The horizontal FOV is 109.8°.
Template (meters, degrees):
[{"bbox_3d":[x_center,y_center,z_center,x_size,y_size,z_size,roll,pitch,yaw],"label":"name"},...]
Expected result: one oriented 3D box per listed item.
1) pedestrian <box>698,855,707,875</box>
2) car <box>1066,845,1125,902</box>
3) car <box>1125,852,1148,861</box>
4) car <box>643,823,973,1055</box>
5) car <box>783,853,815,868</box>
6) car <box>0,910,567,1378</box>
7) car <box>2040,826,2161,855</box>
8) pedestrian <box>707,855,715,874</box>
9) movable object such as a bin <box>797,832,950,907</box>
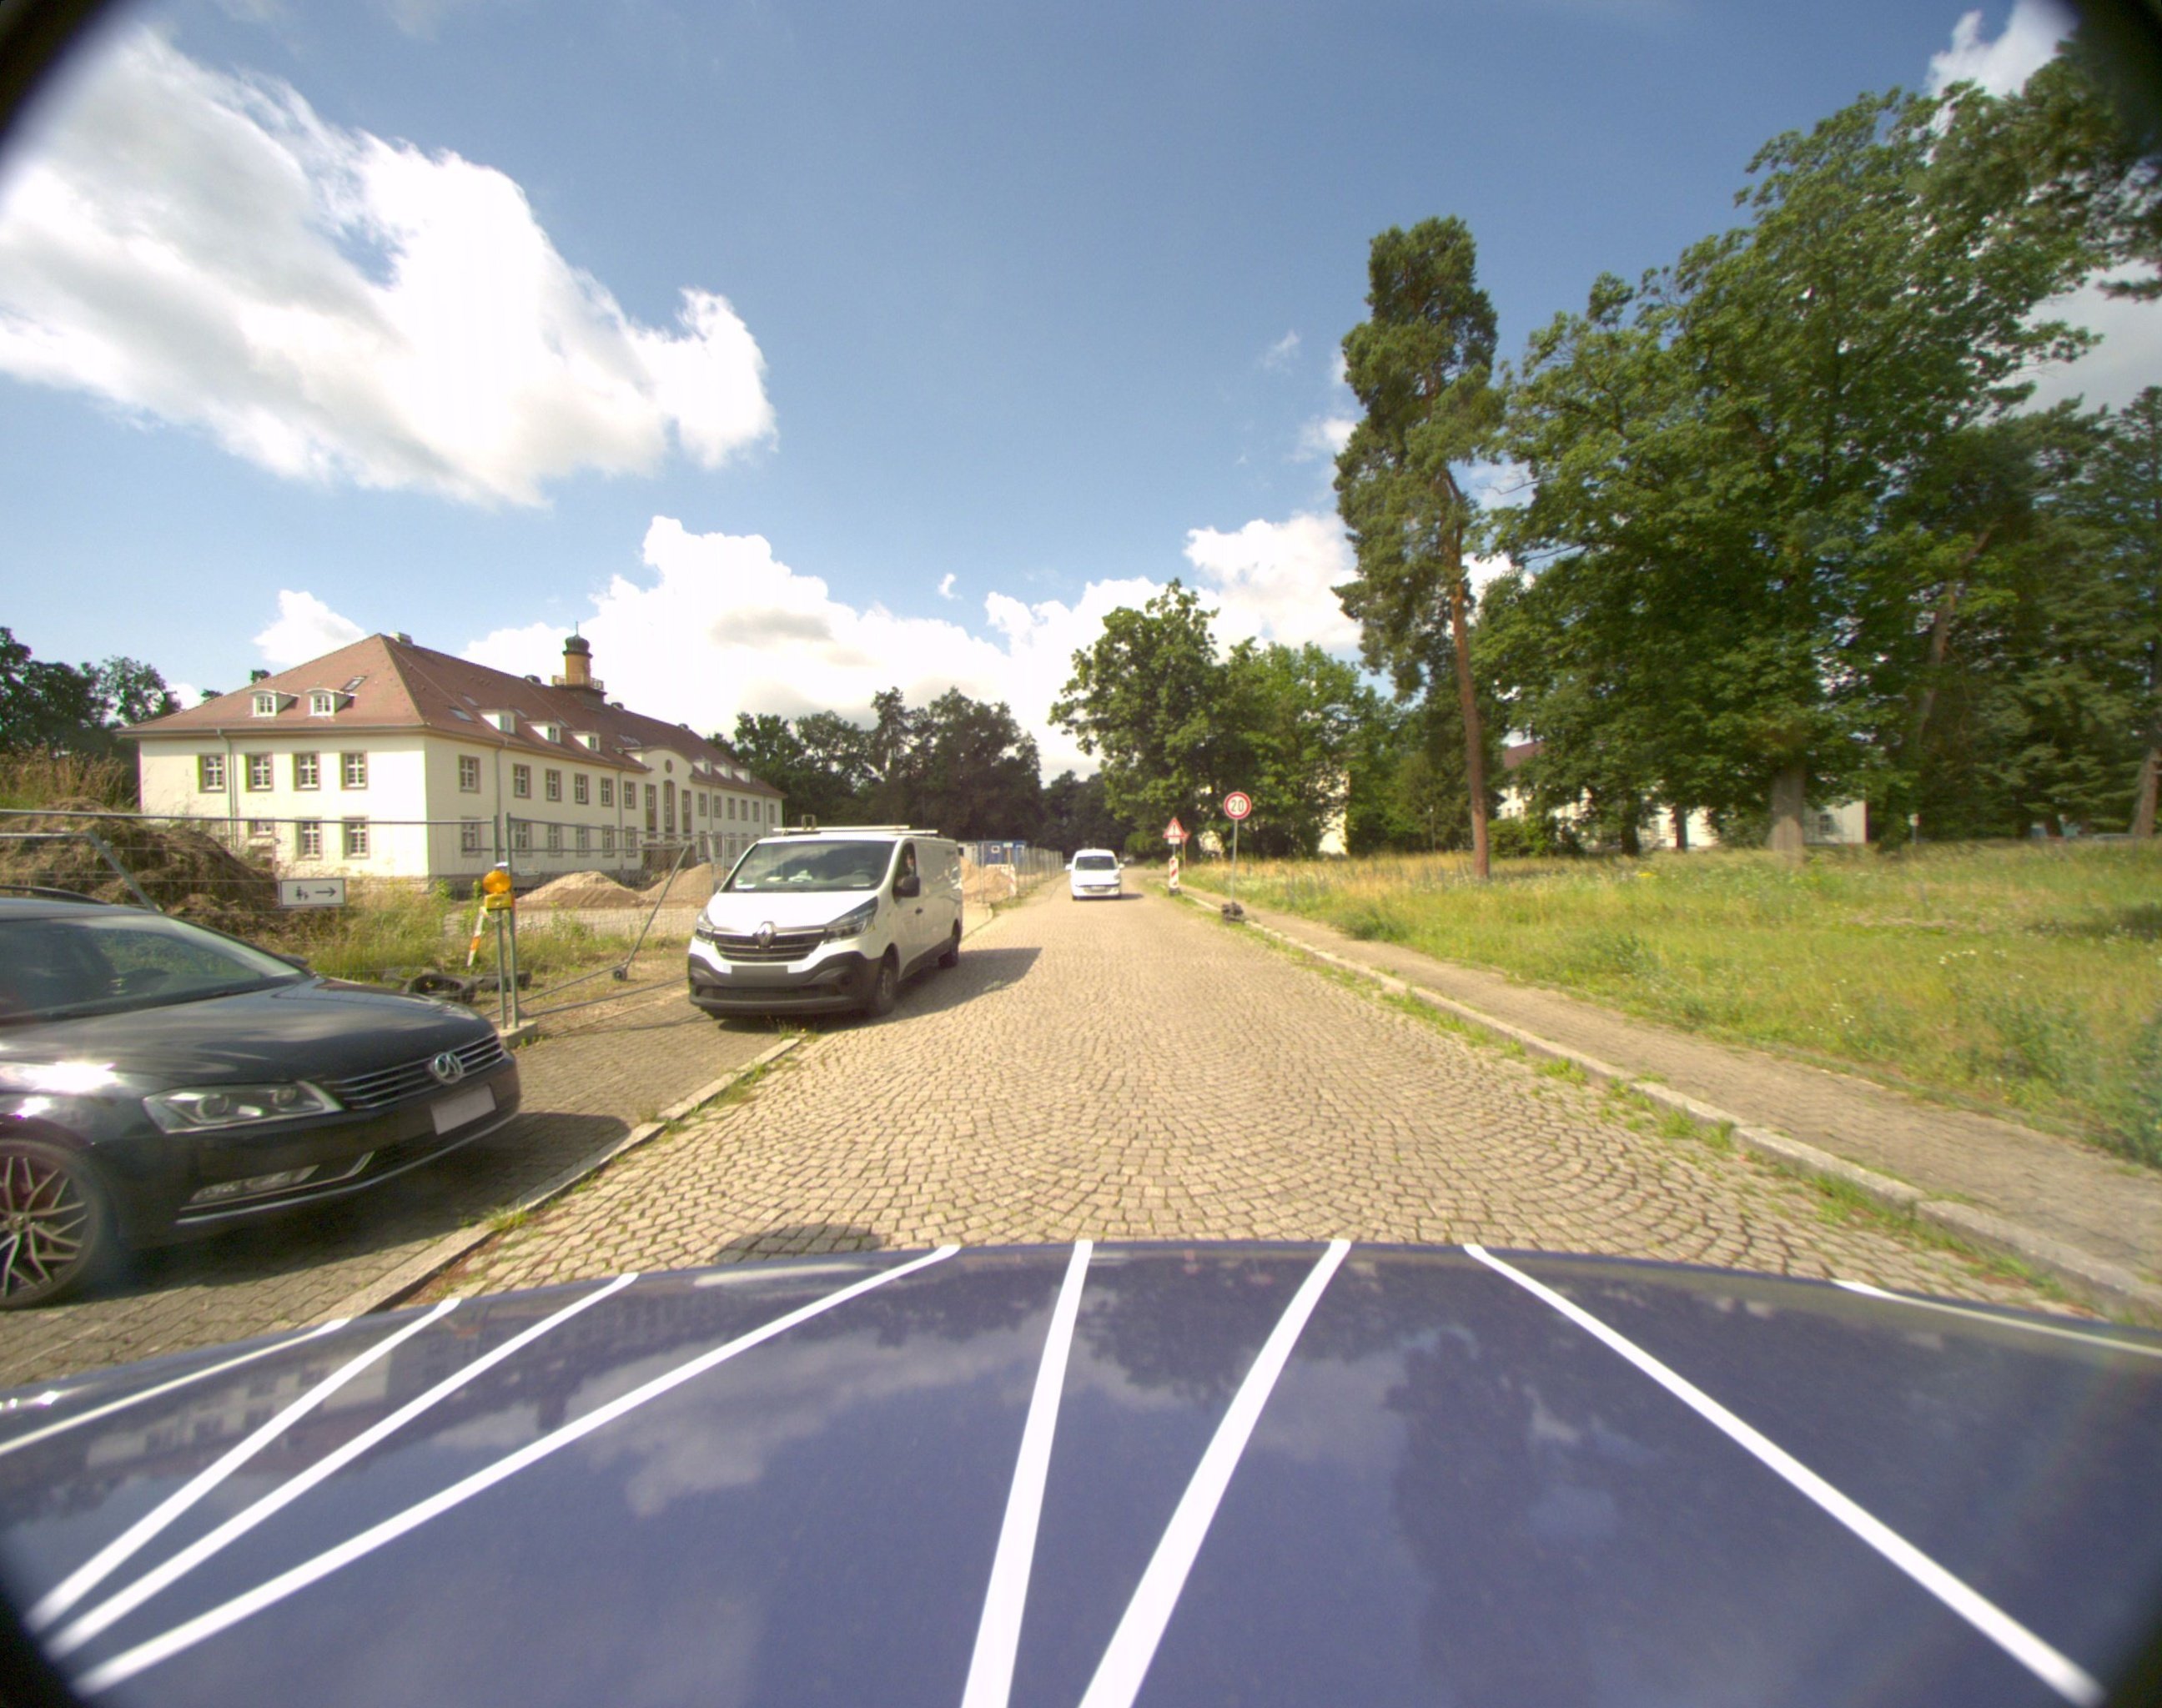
[{"bbox_3d":[-35.327,1.023,70.867,0.490,1.777,0.507,-1,1,23],"label":"pedestrian"},{"bbox_3d":[0.437,0.698,28.162,1.839,1.857,4.830,-1,-1,-3],"label":"car"},{"bbox_3d":[9.984,0.401,137.697,4.084,1.634,1.767,-1,1,0],"label":"car"},{"bbox_3d":[-2.830,0.739,9.592,1.918,2.041,5.679,-1,1,2],"label":"car"},{"bbox_3d":[-33.539,0.774,90.377,1.884,1.718,4.708,-1,1,2],"label":"car"},{"bbox_3d":[-5.156,1.055,3.389,4.466,1.466,1.745,0,1,-3],"label":"car"},{"bbox_3d":[54.123,-0.708,40.338,4.068,1.404,1.900,-1,1,0],"label":"car"},{"bbox_3d":[-35.202,1.010,72.323,0.491,1.777,0.506,-2,1,-2],"label":"pedestrian"},{"bbox_3d":[-7.567,0.525,28.409,2.144,2.507,5.667,0,0,29],"label":"movable object such as a bin"}]
